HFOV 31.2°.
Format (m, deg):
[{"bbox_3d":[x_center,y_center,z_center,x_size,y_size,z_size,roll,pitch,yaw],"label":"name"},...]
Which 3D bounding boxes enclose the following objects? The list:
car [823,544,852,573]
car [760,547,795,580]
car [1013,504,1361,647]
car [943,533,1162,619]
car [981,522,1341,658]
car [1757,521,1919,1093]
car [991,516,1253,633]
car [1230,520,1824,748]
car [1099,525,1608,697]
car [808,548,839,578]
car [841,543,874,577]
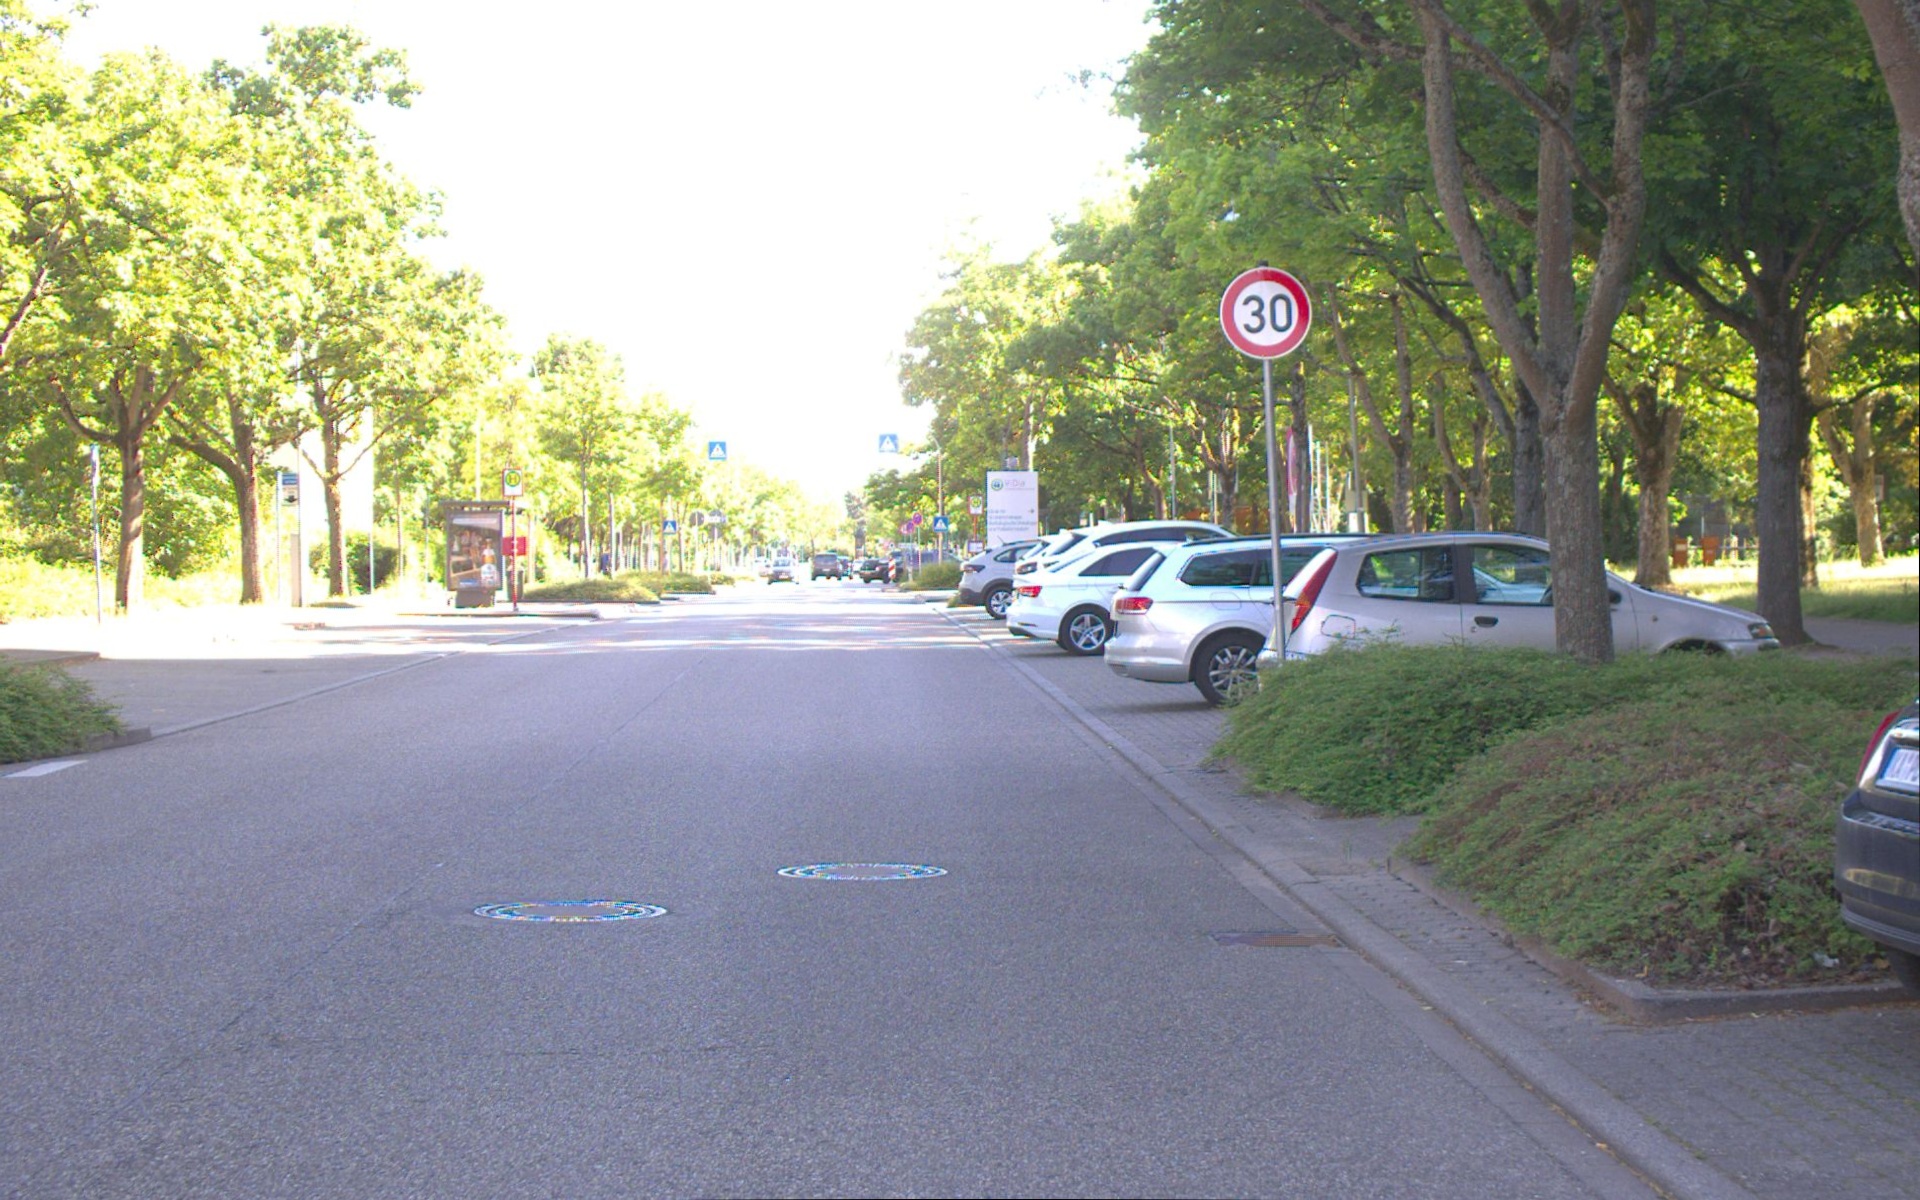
[{"bbox_3d":[-8.791,-2.993,247.342,1.993,2.007,4.000,0,1,-1],"label":"car"},{"bbox_3d":[-10.003,-1.995,188.610,1.828,1.769,3.740,0,1,-1],"label":"car"},{"bbox_3d":[3.039,-0.353,46.549,4.434,1.642,1.816,-3,1,-3],"label":"car"},{"bbox_3d":[1.808,-0.487,68.196,4.164,1.423,2.000,-3,1,-1],"label":"car"},{"bbox_3d":[2.525,-0.140,43.846,4.342,1.484,1.738,-3,1,-3],"label":"car"},{"bbox_3d":[4.365,0.453,9.516,3.808,1.494,1.702,-3,1,-4],"label":"car"},{"bbox_3d":[2.392,-0.394,51.281,3.688,1.517,1.651,-3,1,-3],"label":"car"},{"bbox_3d":[4.073,0.221,25.135,3.987,1.446,1.717,-2,1,-1],"label":"car"},{"bbox_3d":[3.362,0.083,29.926,4.275,1.423,1.827,0,1,3],"label":"car"},{"bbox_3d":[-9.064,-2.475,228.349,1.993,2.007,4.000,0,1,-1],"label":"car"},{"bbox_3d":[-6.166,-2.419,207.351,1.993,2.007,4.000,0,1,-1],"label":"car"}]
